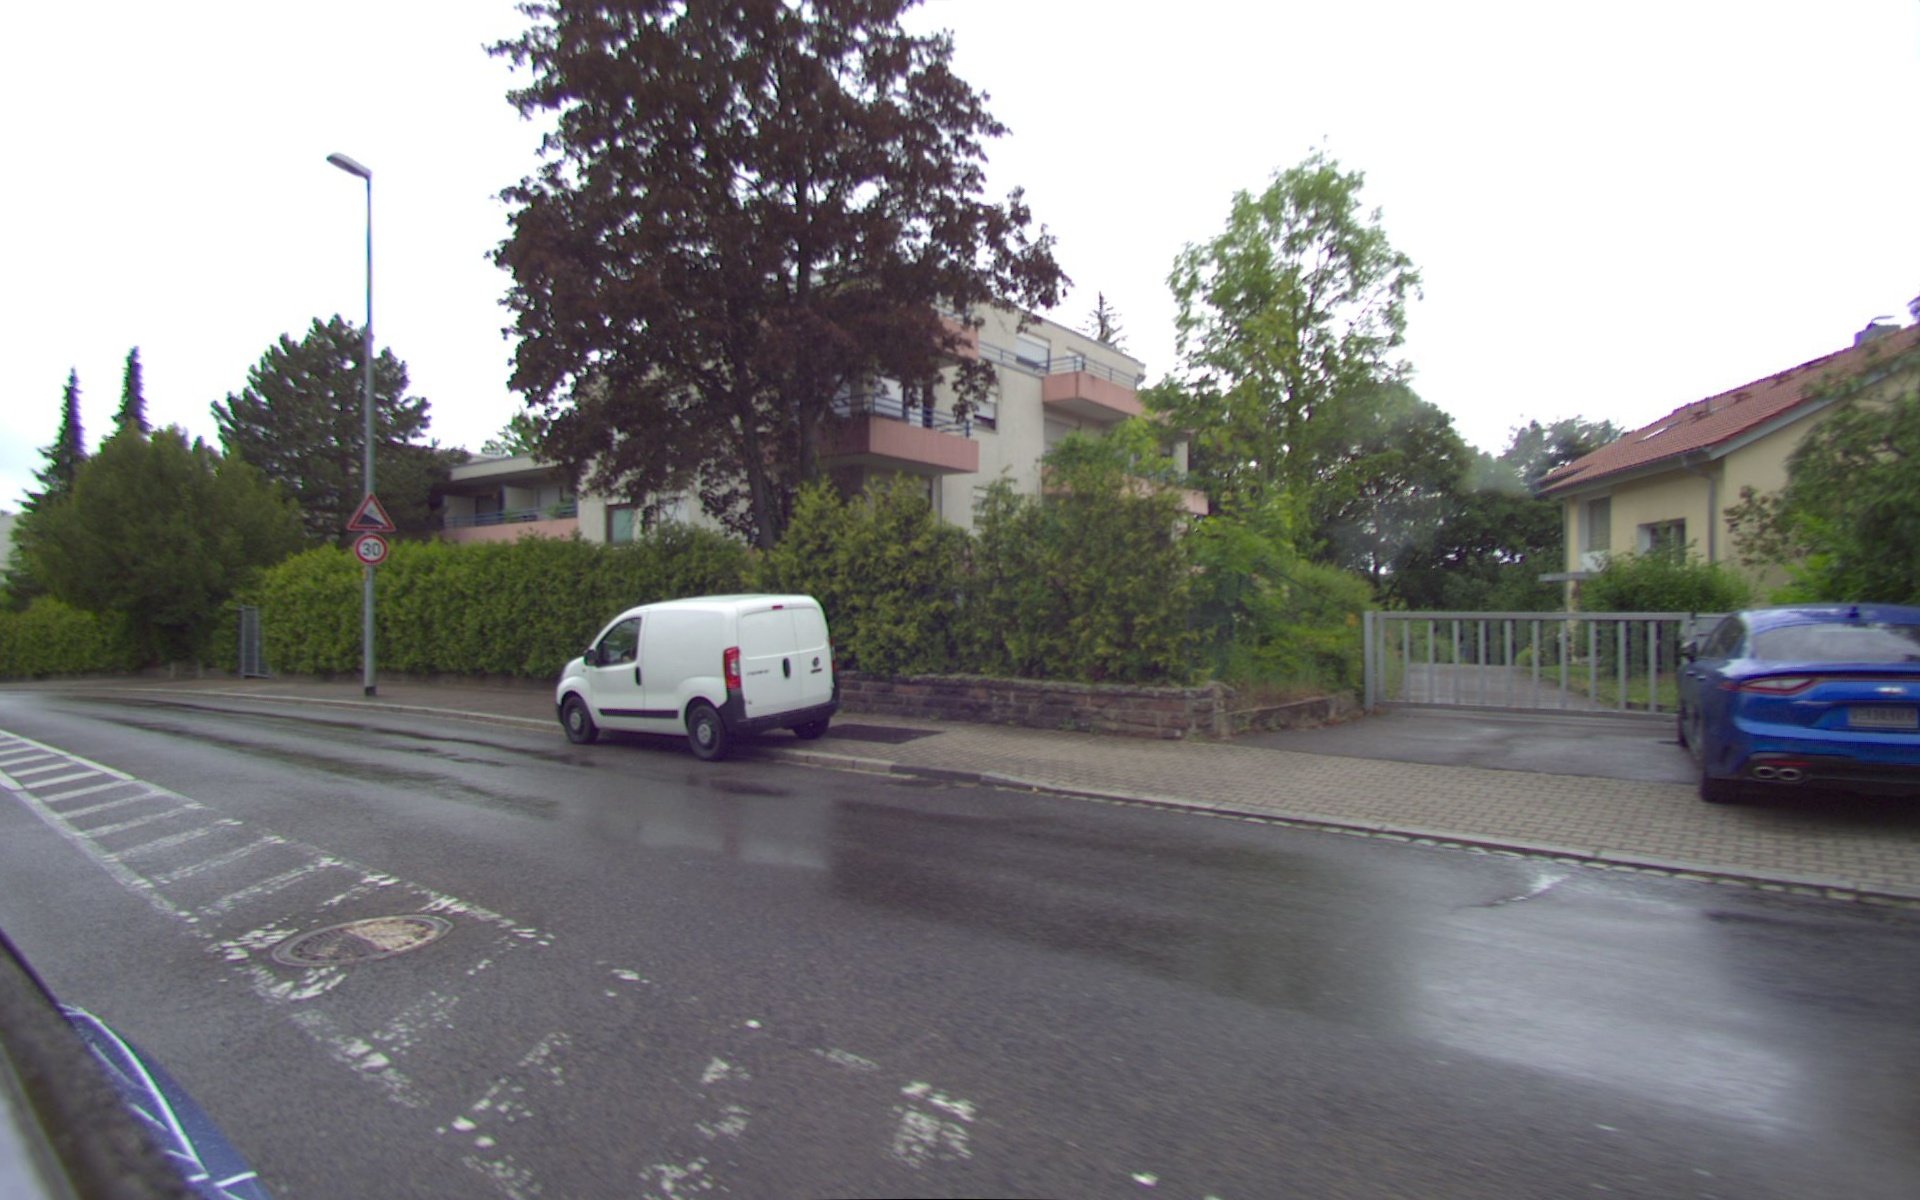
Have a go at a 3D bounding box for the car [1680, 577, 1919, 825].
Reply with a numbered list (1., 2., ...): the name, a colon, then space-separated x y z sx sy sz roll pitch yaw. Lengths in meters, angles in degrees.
1. car: 6.840 0.585 7.850 1.800 1.372 4.446 -3 0 33

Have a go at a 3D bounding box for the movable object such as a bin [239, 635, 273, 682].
1. movable object such as a bin: -20.706 1.716 29.749 0.804 1.336 0.543 -4 -2 35

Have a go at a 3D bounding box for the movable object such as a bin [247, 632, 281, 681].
1. movable object such as a bin: -20.068 1.627 29.186 0.804 1.336 0.543 -4 -2 35

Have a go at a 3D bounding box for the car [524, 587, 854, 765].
1. car: -3.321 0.814 12.071 3.973 1.720 1.685 -2 2 38
